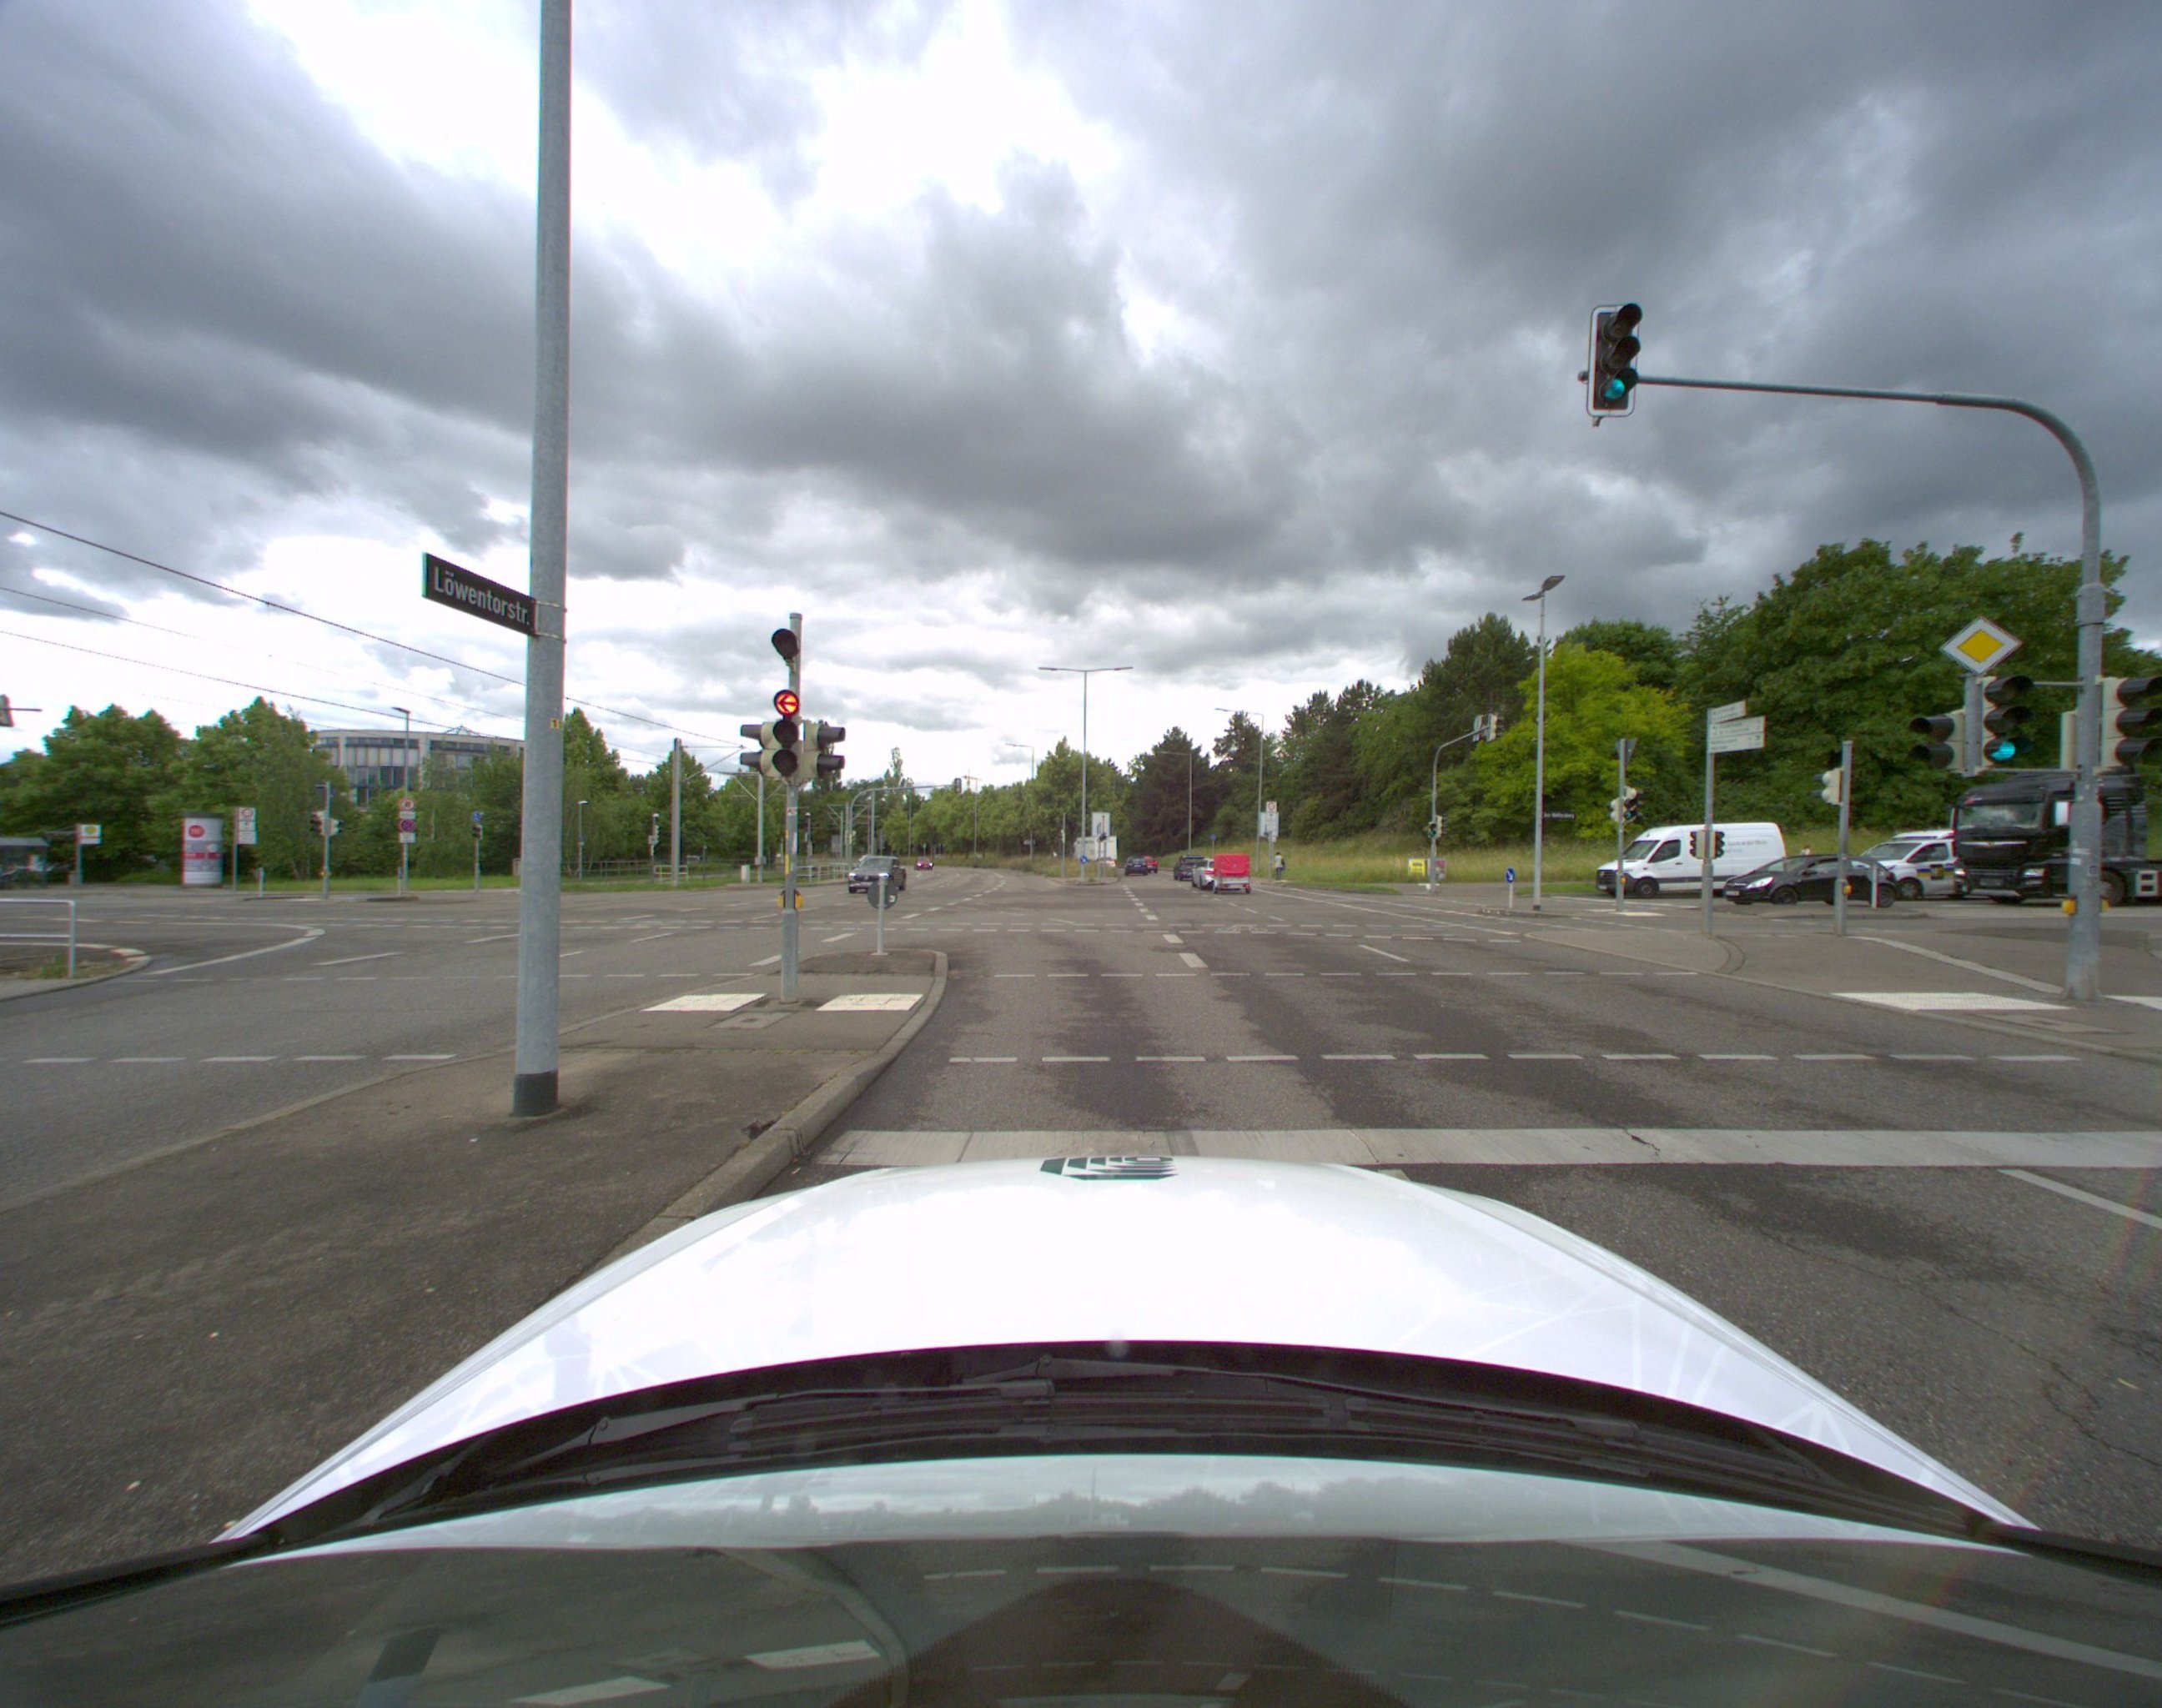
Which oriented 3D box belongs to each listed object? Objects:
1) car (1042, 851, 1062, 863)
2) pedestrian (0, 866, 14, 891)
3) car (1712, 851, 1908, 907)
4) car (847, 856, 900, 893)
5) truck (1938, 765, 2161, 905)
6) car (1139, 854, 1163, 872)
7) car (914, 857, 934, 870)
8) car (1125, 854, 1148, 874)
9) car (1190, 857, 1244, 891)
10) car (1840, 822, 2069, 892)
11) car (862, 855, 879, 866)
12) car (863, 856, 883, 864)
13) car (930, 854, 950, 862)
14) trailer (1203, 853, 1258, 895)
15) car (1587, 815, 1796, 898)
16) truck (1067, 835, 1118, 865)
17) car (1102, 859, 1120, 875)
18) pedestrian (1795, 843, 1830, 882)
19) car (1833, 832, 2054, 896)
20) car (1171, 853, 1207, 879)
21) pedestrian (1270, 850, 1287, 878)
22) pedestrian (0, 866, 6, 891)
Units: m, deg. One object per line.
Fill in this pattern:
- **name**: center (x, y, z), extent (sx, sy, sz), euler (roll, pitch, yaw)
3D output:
- **car**: center (-3.912, 0.443, 109.872), extent (1.782, 1.546, 4.002), euler (-1, 0, -17)
- **pedestrian**: center (-56.504, 1.297, 42.563), extent (0.774, 1.304, 0.666), euler (0, 0, 15)
- **car**: center (20.277, 0.668, 22.772), extent (3.905, 1.436, 1.732), euler (-1, 0, 1)
- **car**: center (-9.205, 0.869, 36.433), extent (1.777, 1.546, 4.214), euler (0, 0, -8)
- **truck**: center (27.932, -0.516, 22.270), extent (6.027, 3.538, 2.729), euler (-1, 0, 2)
- **car**: center (6.357, 0.834, 74.179), extent (1.772, 1.546, 4.024), euler (-1, 0, 0)
- **car**: center (-17.505, 1.060, 90.698), extent (1.785, 1.443, 4.401), euler (-1, 0, -16)
- **car**: center (4.579, 0.781, 66.638), extent (1.769, 1.546, 4.031), euler (0, 0, 5)
- **car**: center (6.245, 0.893, 37.804), extent (1.772, 1.421, 4.459), euler (0, 0, 1)
- **car**: center (30.680, 0.109, 28.764), extent (5.677, 2.289, 2.136), euler (-1, 0, 2)
- **car**: center (-33.448, 1.011, 129.332), extent (1.837, 1.629, 4.391), euler (-1, 0, -23)
- **car**: center (-41.270, 1.143, 161.334), extent (3.973, 1.546, 1.795), euler (0, 0, 39)
- **car**: center (-25.070, 0.702, 144.741), extent (1.792, 1.546, 3.979), euler (-1, 0, -38)
- **trailer**: center (6.199, 0.799, 34.060), extent (1.759, 1.616, 3.044), euler (0, 0, 0)
- **car**: center (21.895, 0.094, 29.409), extent (5.870, 2.781, 2.136), euler (-1, 0, 2)
- **truck**: center (1.215, -0.471, 95.239), extent (2.746, 3.328, 11.342), euler (0, 0, -17)
- **car**: center (3.028, 1.354, 83.465), extent (1.772, 1.546, 4.025), euler (0, 0, 1)
- **pedestrian**: center (31.563, 0.364, 35.130), extent (0.785, 1.676, 0.817), euler (0, 0, 3)
- **car**: center (27.271, 0.299, 25.893), extent (4.836, 1.896, 2.034), euler (-1, 0, 1)
- **car**: center (6.789, 0.744, 51.519), extent (1.772, 1.546, 4.025), euler (0, 0, 1)
- **pedestrian**: center (11.375, 0.569, 46.962), extent (0.811, 1.627, 0.791), euler (0, 0, 1)
- **pedestrian**: center (-57.770, 1.297, 43.175), extent (0.774, 1.303, 0.666), euler (0, 0, 15)
